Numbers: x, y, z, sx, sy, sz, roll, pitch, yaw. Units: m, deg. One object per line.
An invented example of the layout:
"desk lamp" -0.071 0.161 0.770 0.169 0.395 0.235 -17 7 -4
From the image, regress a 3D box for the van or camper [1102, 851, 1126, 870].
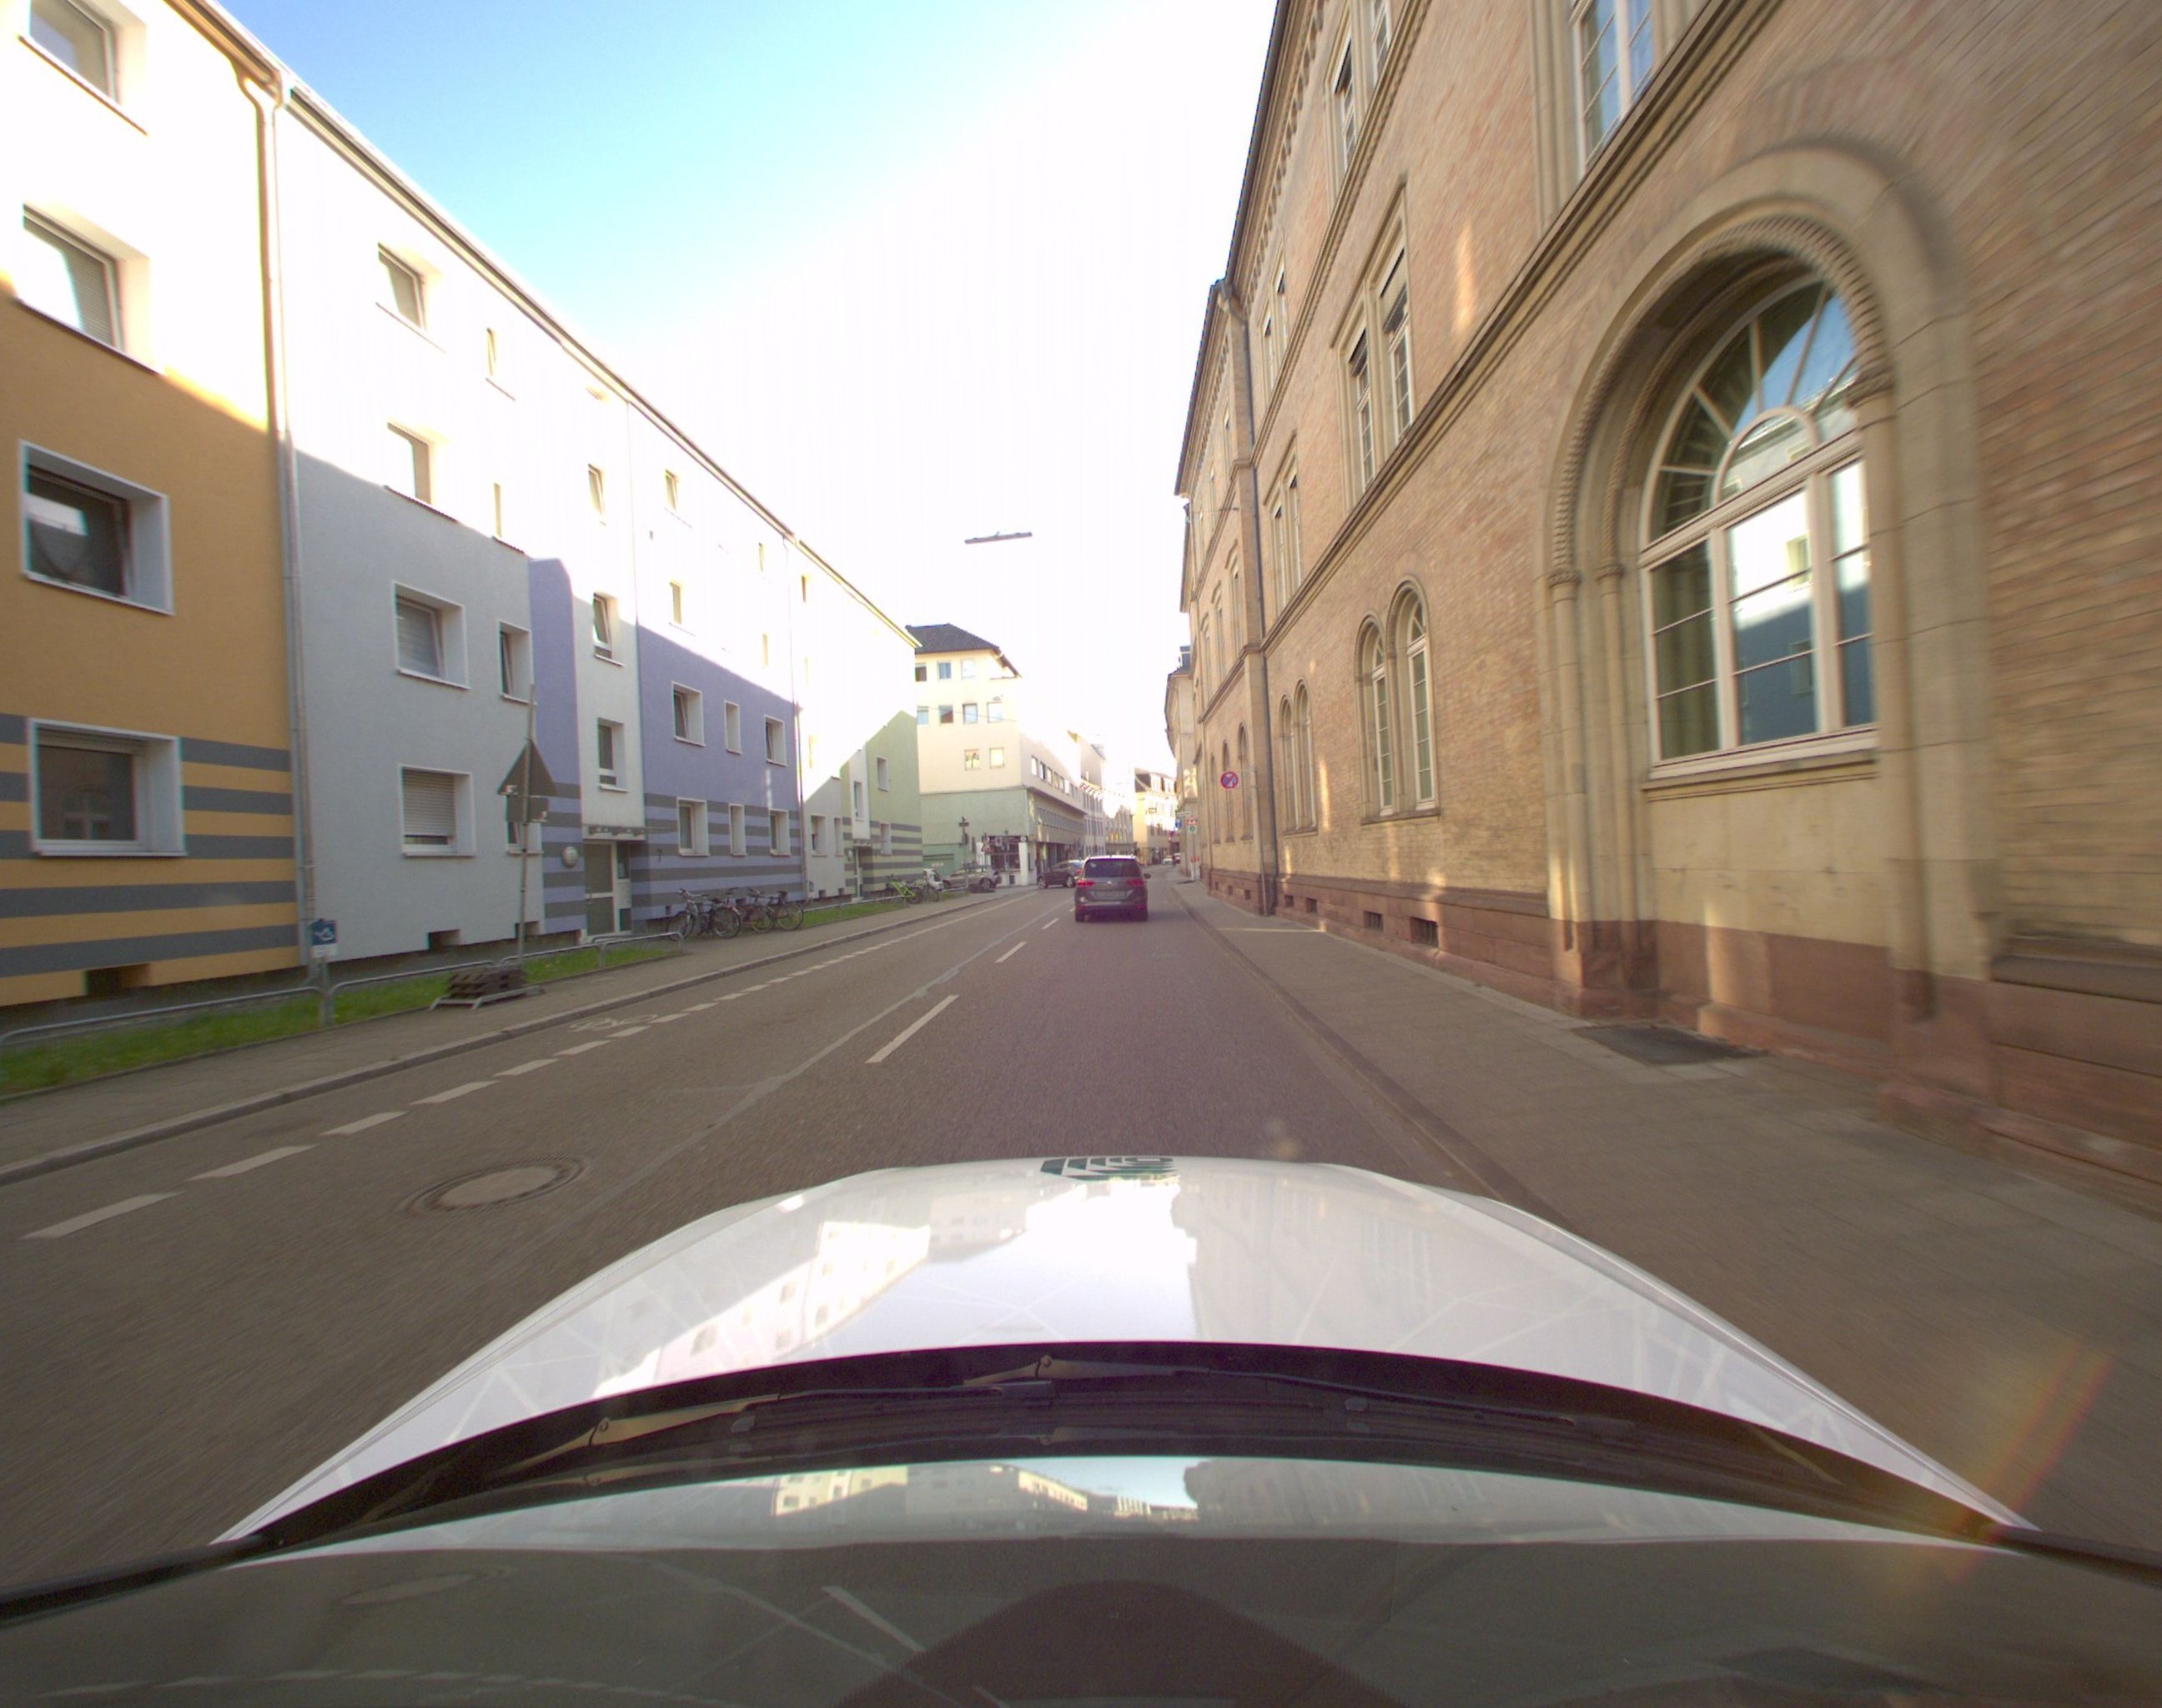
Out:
"van or camper" 3.827 0.735 93.481 1.981 2.013 4.496 -3 0 10

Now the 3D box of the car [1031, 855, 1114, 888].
"car" -0.515 0.965 44.198 2.011 1.541 4.574 -3 0 -40

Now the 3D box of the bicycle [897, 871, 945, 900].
"bicycle" -6.718 1.327 34.199 1.926 1.179 0.612 0 -1 -5

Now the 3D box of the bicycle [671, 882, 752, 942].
"bicycle" -8.420 1.312 18.559 1.579 1.241 0.449 -3 0 1

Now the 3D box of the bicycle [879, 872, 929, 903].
"bicycle" -7.097 1.338 32.748 1.930 1.179 0.611 0 -1 -12

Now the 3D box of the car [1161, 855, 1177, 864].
"car" 15.054 0.889 139.335 1.720 1.468 4.019 -3 0 18

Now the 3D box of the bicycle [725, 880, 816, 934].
"bicycle" -7.798 1.327 20.505 2.001 1.231 0.623 -3 0 1

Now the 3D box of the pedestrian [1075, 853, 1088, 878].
"pedestrian" 0.048 0.874 61.368 0.550 1.829 0.735 -3 -1 28

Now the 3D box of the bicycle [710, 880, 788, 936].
"bicycle" -8.061 1.300 19.798 1.633 1.241 0.467 -3 0 1

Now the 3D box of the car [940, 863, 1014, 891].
"car" -6.387 1.413 50.211 4.078 1.443 1.951 -4 0 5

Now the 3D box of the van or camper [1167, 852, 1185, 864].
"van or camper" 17.005 0.665 144.960 1.977 2.013 5.024 -3 0 20

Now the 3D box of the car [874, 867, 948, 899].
"car" -9.248 1.556 44.504 3.483 1.443 1.816 -4 0 5

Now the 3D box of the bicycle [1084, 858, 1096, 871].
"bicycle" 0.844 0.956 75.489 0.827 1.054 2.552 -3 0 4

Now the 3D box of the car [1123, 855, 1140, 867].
"car" 6.863 0.935 109.517 1.854 1.468 3.843 -3 0 9

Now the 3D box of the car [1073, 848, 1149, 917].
"car" 0.815 0.674 20.946 1.754 1.607 4.003 0 0 3

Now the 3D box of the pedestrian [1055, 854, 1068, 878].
"pedestrian" -1.507 0.948 63.083 0.550 1.829 0.735 -3 -1 28

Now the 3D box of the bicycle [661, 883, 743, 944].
"bicycle" -8.442 1.319 18.141 1.574 1.241 0.384 -4 0 1

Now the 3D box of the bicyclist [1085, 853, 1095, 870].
"bicyclist" 0.844 0.681 75.543 0.827 1.561 0.760 -3 0 4
